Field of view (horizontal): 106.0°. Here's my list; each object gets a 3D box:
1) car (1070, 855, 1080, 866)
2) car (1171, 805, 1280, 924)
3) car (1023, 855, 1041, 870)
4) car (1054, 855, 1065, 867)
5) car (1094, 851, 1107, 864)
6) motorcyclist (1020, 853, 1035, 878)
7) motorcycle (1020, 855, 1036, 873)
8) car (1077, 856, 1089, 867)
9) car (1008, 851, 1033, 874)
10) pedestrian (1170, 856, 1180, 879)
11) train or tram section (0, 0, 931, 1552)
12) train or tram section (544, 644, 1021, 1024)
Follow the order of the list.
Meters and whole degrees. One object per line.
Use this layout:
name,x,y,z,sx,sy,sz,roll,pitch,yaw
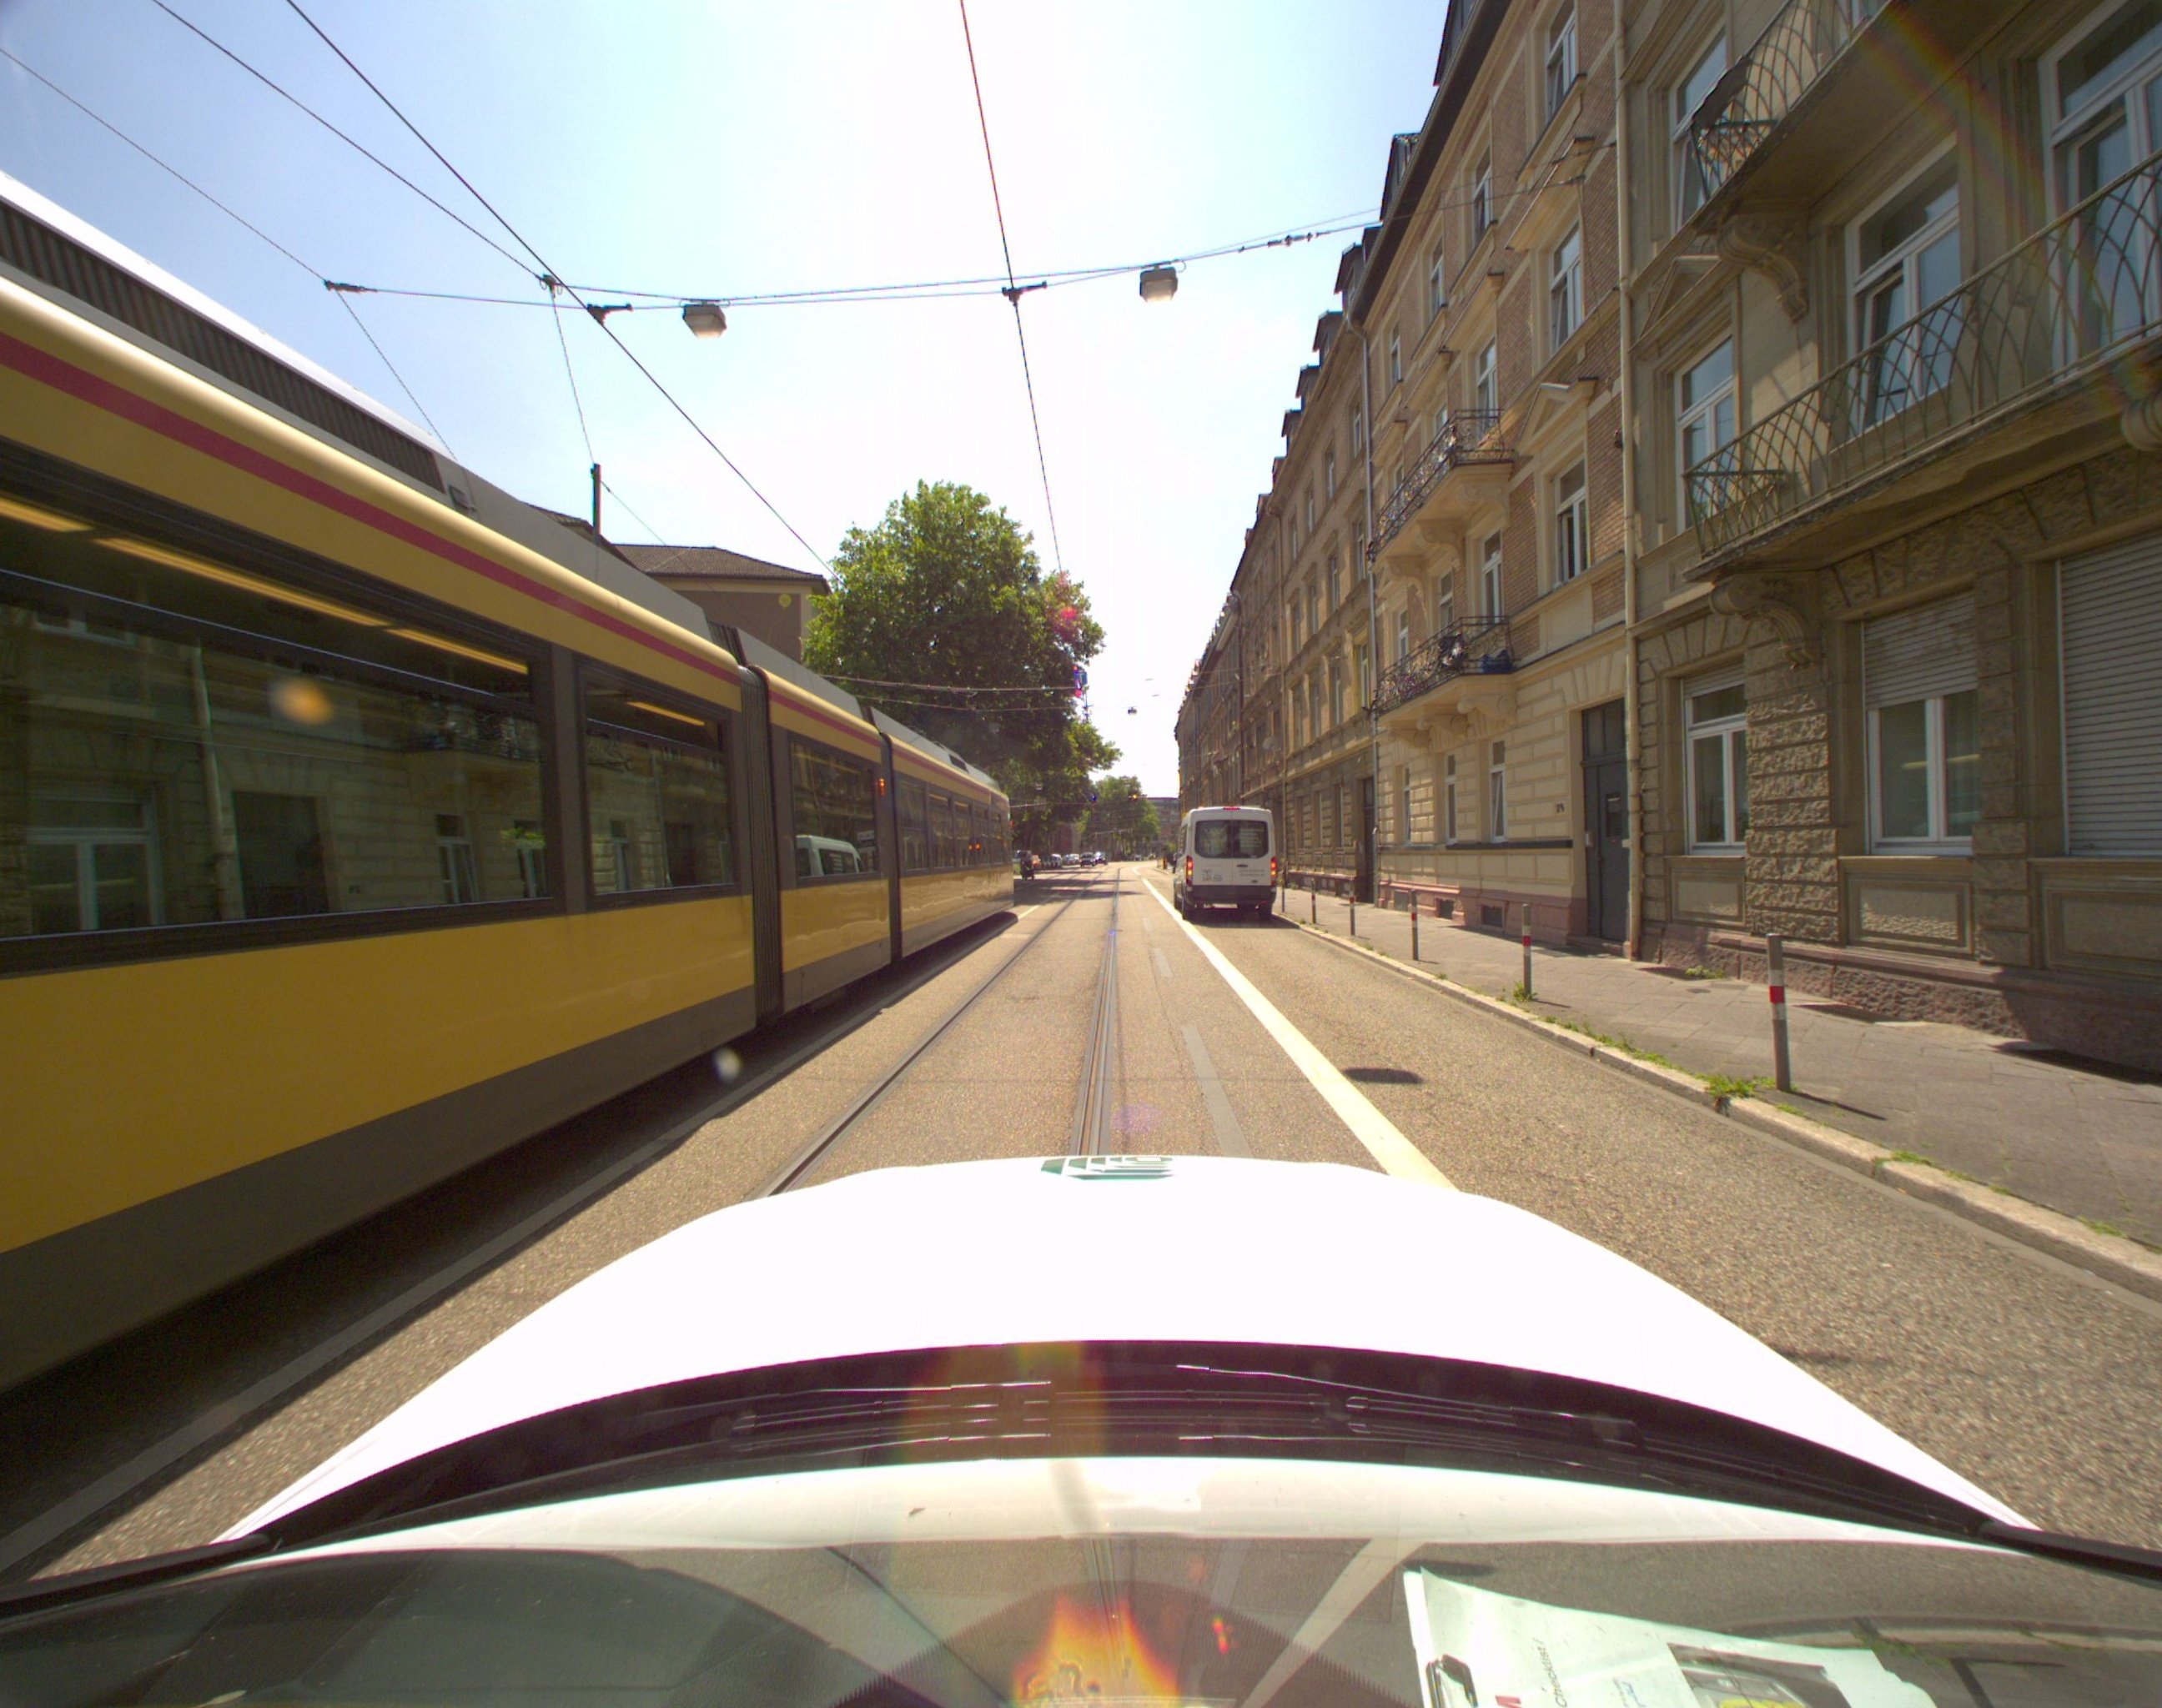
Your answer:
car,-0.991,1.008,130.723,1.449,1.731,3.193,0,0,1
car,3.327,0.216,19.827,2.058,2.501,5.460,0,0,4
car,-4.838,0.814,80.906,1.449,1.496,3.663,0,0,1
car,-3.173,1.016,120.175,1.449,1.731,3.193,0,0,1
car,2.748,0.458,114.411,1.668,1.860,4.000,0,0,0
motorcyclist,-3.370,0.730,51.596,0.939,1.532,0.500,0,0,-5
motorcycle,-3.356,0.603,51.327,0.947,1.114,1.600,0,0,-5
car,0.273,0.922,106.680,1.523,1.408,3.490,0,0,1
car,-5.195,0.730,70.677,1.794,1.923,4.000,0,0,1
pedestrian,6.441,0.916,55.634,0.616,1.539,0.464,0,0,1
train or tram section,-3.791,-0.223,4.169,2.949,3.580,13.431,-1,0,2
train or tram section,-3.360,-0.184,14.472,2.949,3.580,13.431,-1,0,2
